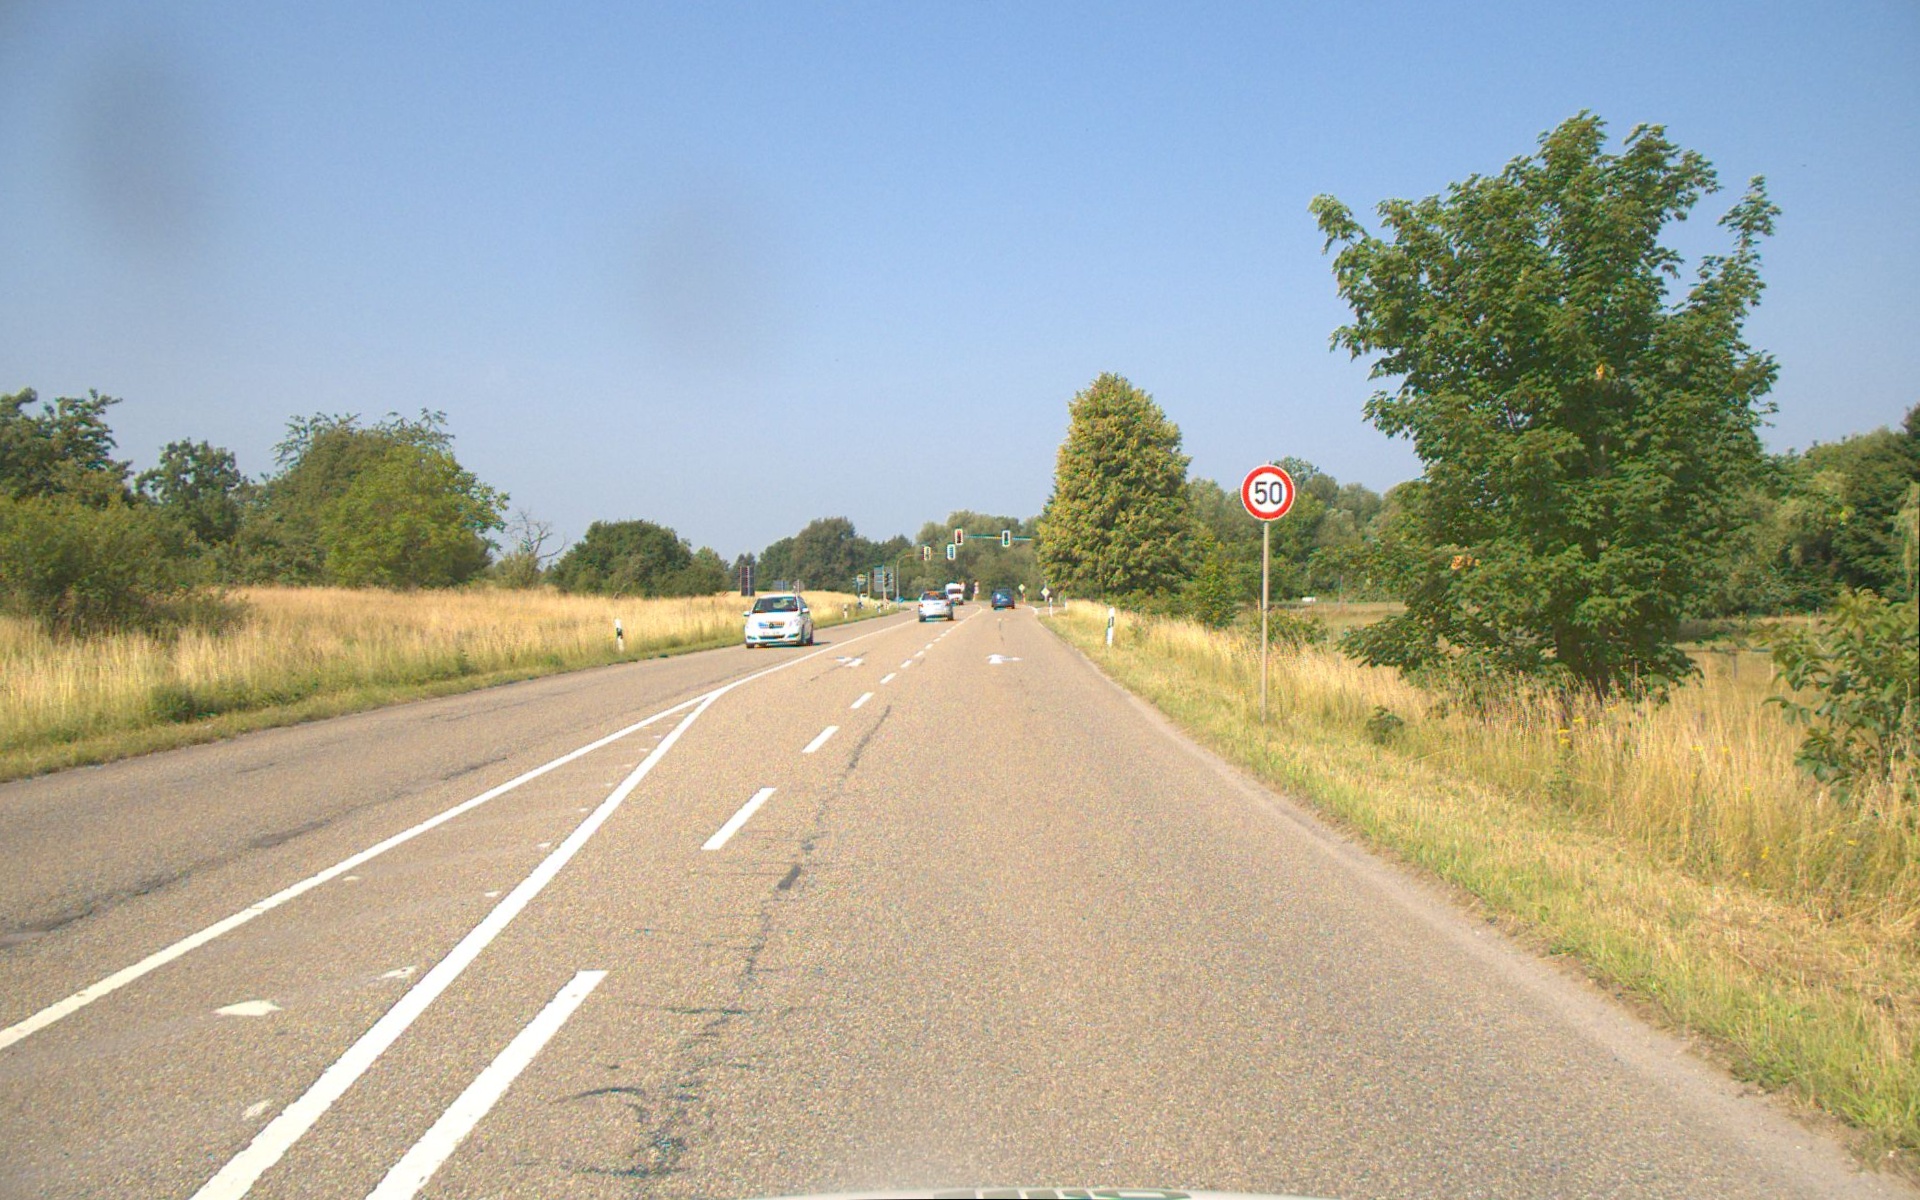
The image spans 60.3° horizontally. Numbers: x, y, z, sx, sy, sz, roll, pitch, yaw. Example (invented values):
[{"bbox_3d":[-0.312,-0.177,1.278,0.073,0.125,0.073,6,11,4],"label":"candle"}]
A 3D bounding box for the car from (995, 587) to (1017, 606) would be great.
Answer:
[{"bbox_3d":[3.804,-0.297,137.435,1.778,1.547,4.001,-1,0,2],"label":"car"}]

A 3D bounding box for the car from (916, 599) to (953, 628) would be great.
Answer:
[{"bbox_3d":[-1.393,0.718,90.528,1.860,1.538,4.000,1,0,1],"label":"car"}]

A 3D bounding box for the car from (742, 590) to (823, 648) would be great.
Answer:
[{"bbox_3d":[-5.421,0.562,51.024,1.774,1.612,4.226,-3,0,3],"label":"car"}]

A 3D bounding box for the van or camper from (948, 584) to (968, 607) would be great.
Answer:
[{"bbox_3d":[-0.192,-0.560,205.819,2.217,2.757,5.264,1,0,2],"label":"van or camper"}]
